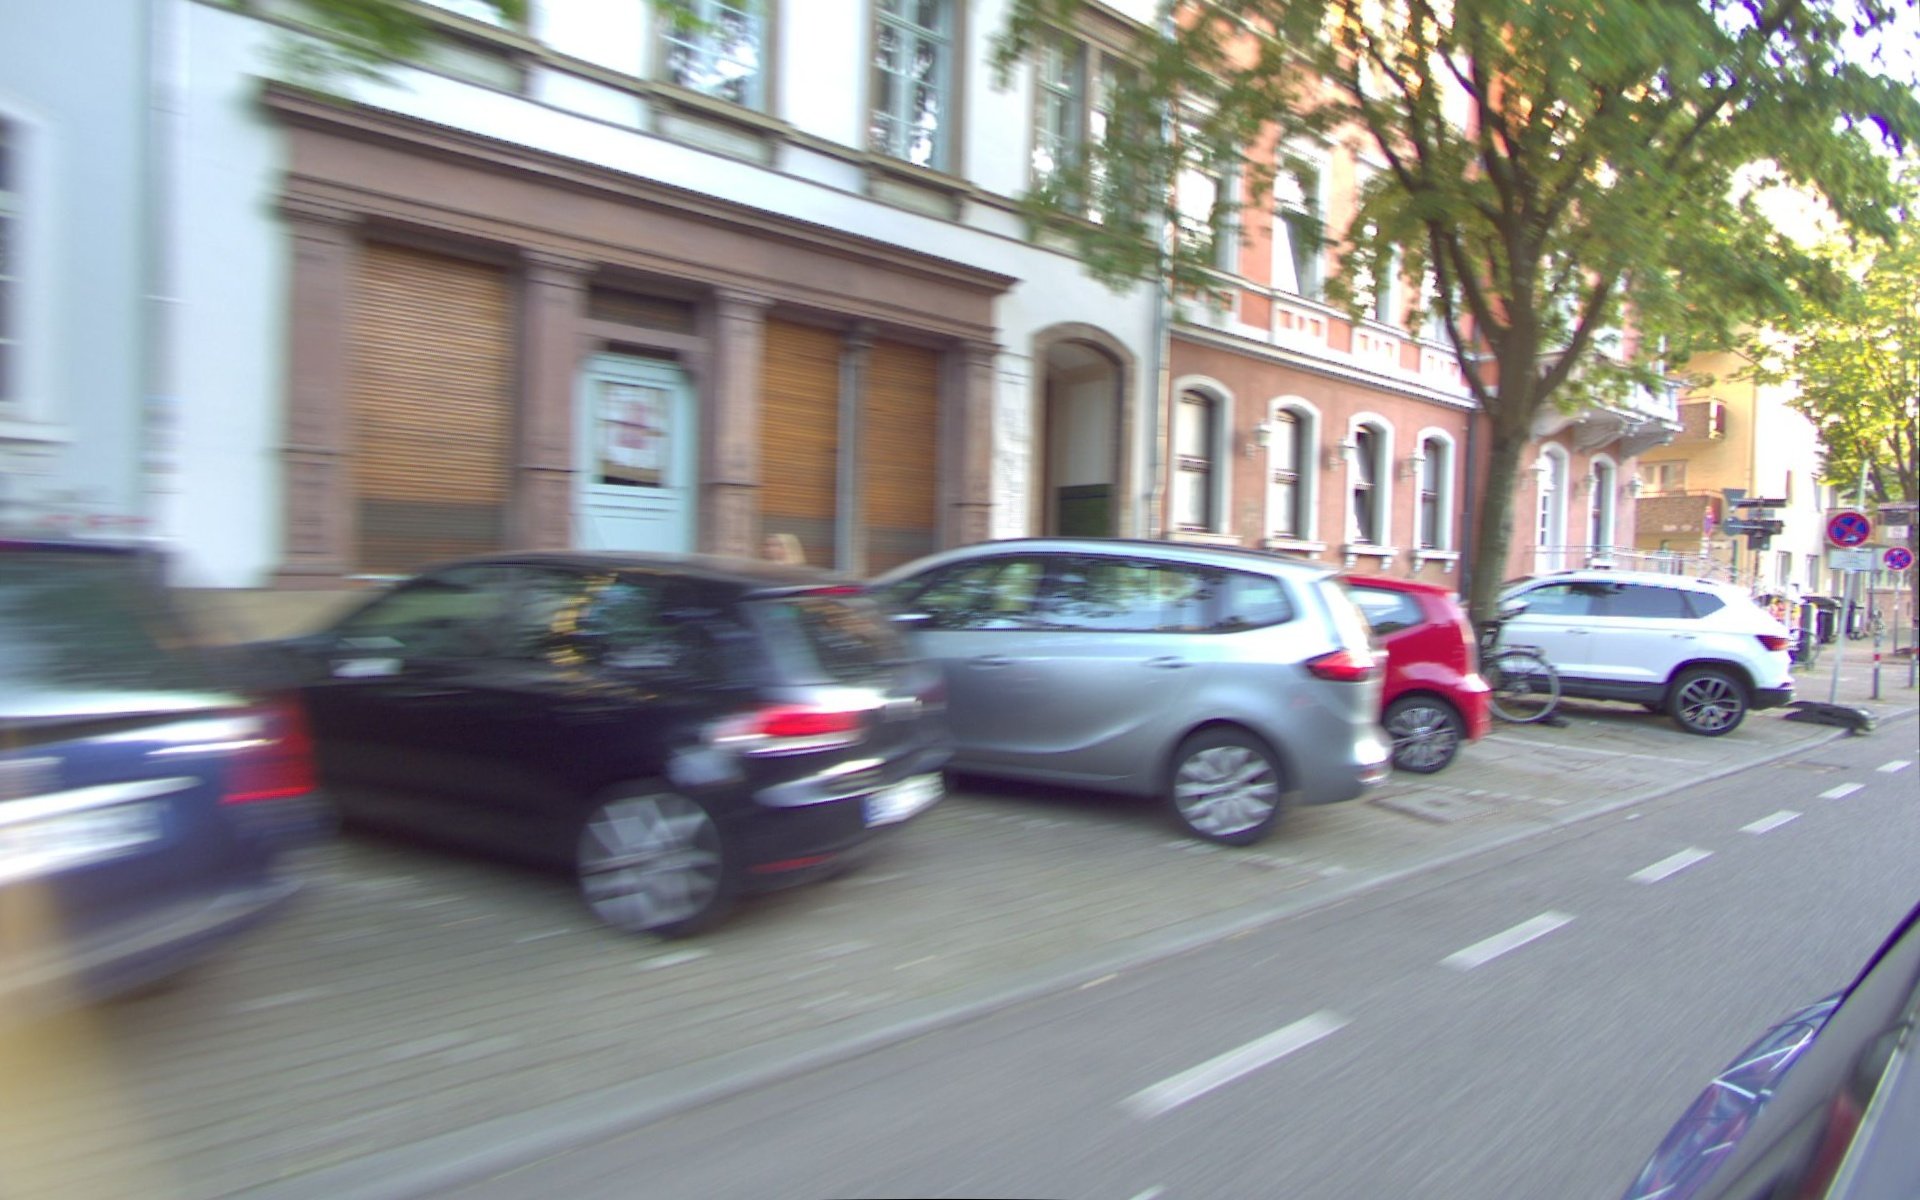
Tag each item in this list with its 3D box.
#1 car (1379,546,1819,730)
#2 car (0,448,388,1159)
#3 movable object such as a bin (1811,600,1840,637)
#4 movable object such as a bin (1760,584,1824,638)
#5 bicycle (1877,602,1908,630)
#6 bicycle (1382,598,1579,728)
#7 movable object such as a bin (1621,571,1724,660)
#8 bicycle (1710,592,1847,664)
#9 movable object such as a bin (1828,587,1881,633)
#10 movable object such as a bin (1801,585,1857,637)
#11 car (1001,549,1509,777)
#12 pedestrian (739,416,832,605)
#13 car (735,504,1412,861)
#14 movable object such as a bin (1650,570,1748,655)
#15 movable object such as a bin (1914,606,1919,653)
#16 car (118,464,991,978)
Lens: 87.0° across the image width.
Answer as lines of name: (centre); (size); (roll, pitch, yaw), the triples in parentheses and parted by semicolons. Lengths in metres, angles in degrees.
car: (6.962, 0.327, 11.565); (3.911, 1.646, 1.661); (4, 2, 23)
car: (-3.952, 0.337, 3.063); (3.908, 1.622, 1.828); (4, 4, 21)
movable object such as a bin: (25.891, 0.543, 30.266); (0.560, 1.060, 0.555); (1, 1, -39)
movable object such as a bin: (24.680, 0.311, 30.010); (1.569, 1.520, 1.143); (0, 1, -38)
bicycle: (36.521, 0.619, 39.628); (1.527, 1.088, 0.652); (0, 1, -38)
bicycle: (5.209, 0.600, 10.201); (1.656, 1.088, 0.459); (5, 3, 30)
movable object such as a bin: (12.826, 0.249, 18.218); (1.373, 1.520, 1.143); (0, 1, -38)
bicycle: (15.647, 0.513, 19.393); (1.893, 1.282, 0.598); (2, 1, 19)
movable object such as a bin: (30.946, 0.329, 35.008); (1.455, 1.520, 1.116); (0, 1, -38)
movable object such as a bin: (26.560, 0.323, 30.947); (1.295, 1.520, 1.074); (0, 1, -39)
car: (2.533, 0.412, 9.072); (3.910, 1.495, 1.817); (4, 2, 22)
pedestrian: (-1.585, -0.780, 9.180); (0.613, 1.629, 0.588); (1, 1, -37)
car: (0.721, 0.317, 6.701); (3.907, 1.688, 1.890); (4, 4, 20)
movable object such as a bin: (13.963, 0.213, 19.117); (1.373, 1.520, 1.143); (0, 1, -38)
movable object such as a bin: (23.997, 0.741, 24.749); (0.576, 1.168, 0.797); (1, 1, -25)
car: (-2.013, 0.303, 5.073); (3.910, 1.622, 1.735); (6, 4, 21)
